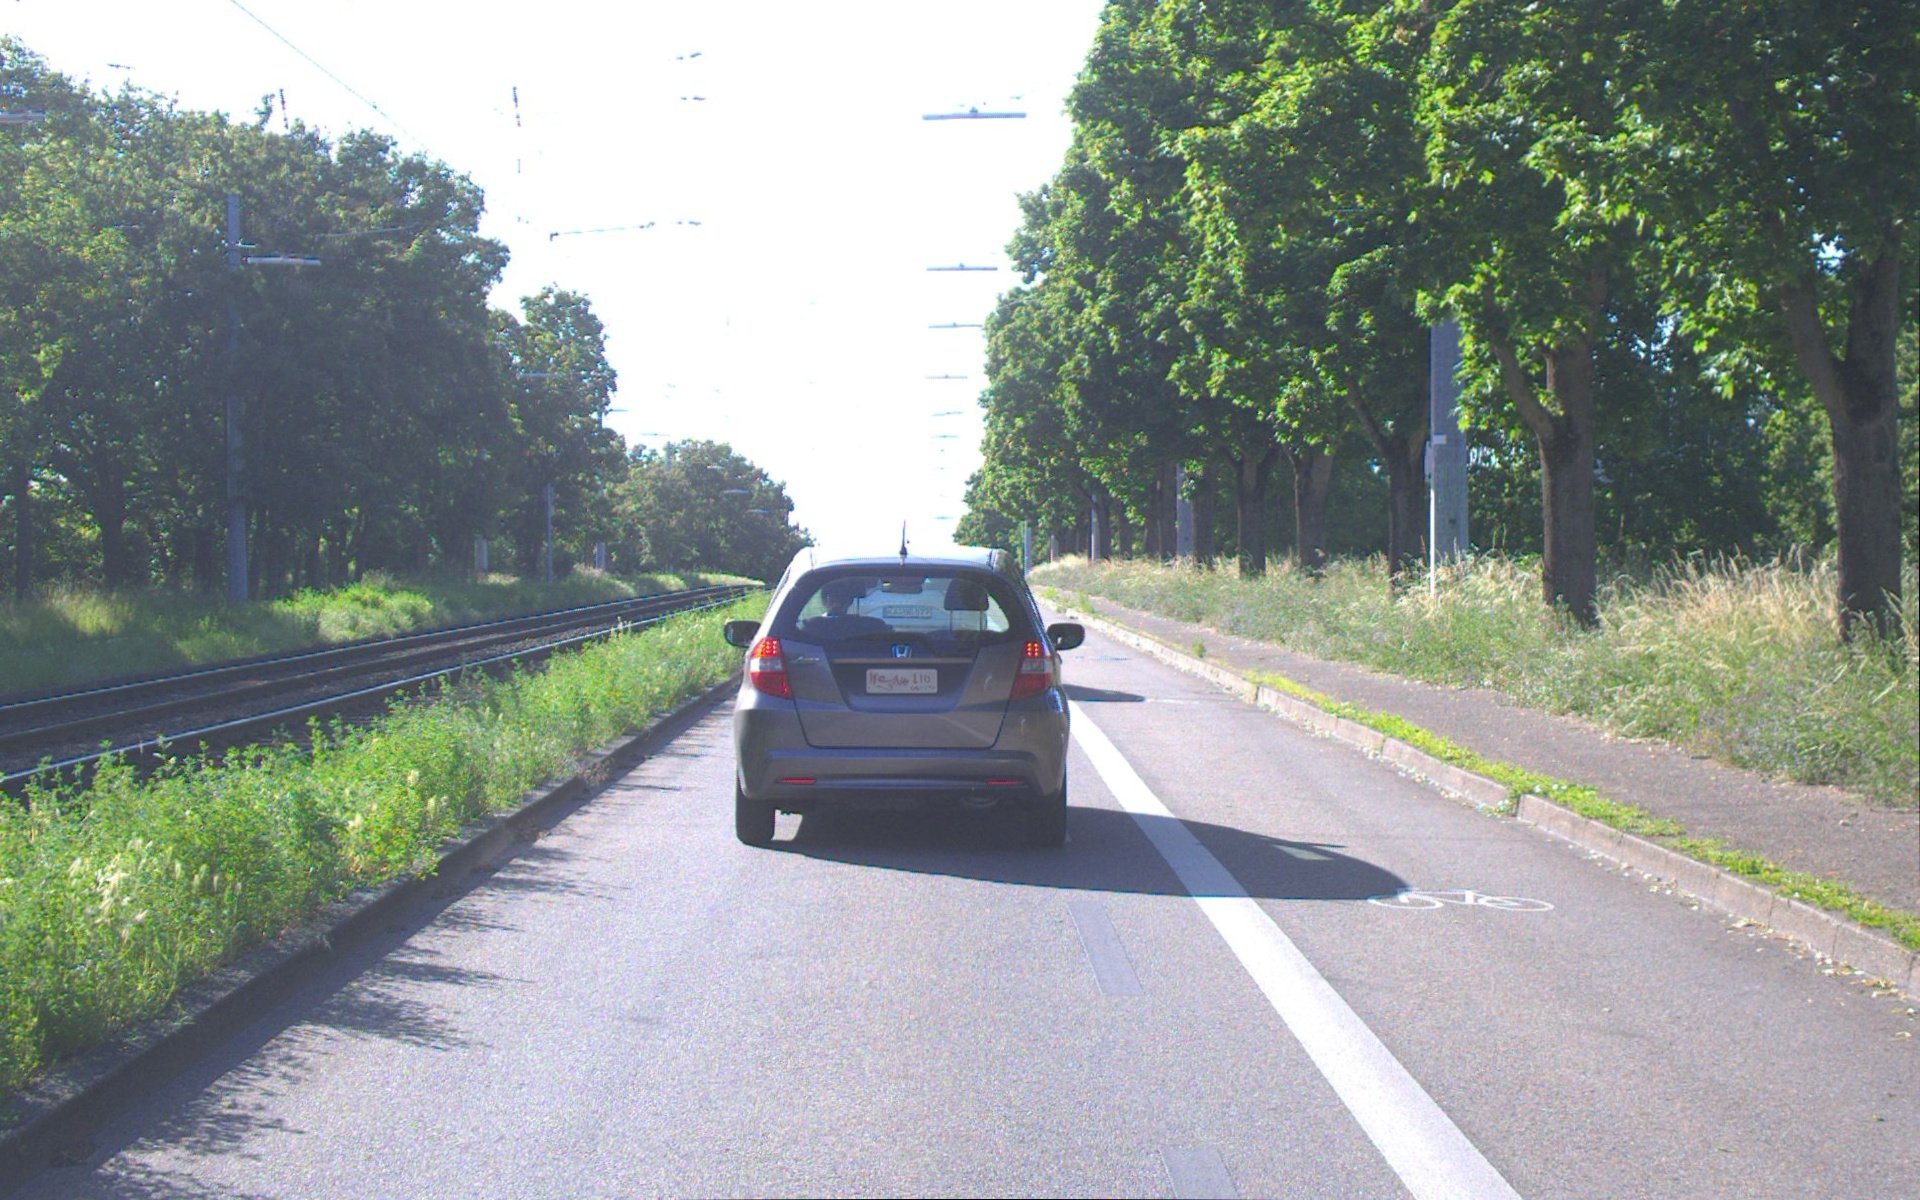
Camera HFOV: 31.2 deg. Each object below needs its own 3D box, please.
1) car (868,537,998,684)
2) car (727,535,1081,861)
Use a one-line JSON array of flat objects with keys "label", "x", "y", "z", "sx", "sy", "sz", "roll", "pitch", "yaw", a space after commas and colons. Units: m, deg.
[{"label": "car", "x": -0.297, "y": 0.118, "z": 37.672, "sx": 1.351, "sy": 1.522, "sz": 3.123, "roll": -1, "pitch": 0, "yaw": -1}, {"label": "car", "x": -0.319, "y": 0.438, "z": 18.378, "sx": 1.670, "sy": 1.510, "sz": 3.674, "roll": 1, "pitch": 1, "yaw": -2}]
